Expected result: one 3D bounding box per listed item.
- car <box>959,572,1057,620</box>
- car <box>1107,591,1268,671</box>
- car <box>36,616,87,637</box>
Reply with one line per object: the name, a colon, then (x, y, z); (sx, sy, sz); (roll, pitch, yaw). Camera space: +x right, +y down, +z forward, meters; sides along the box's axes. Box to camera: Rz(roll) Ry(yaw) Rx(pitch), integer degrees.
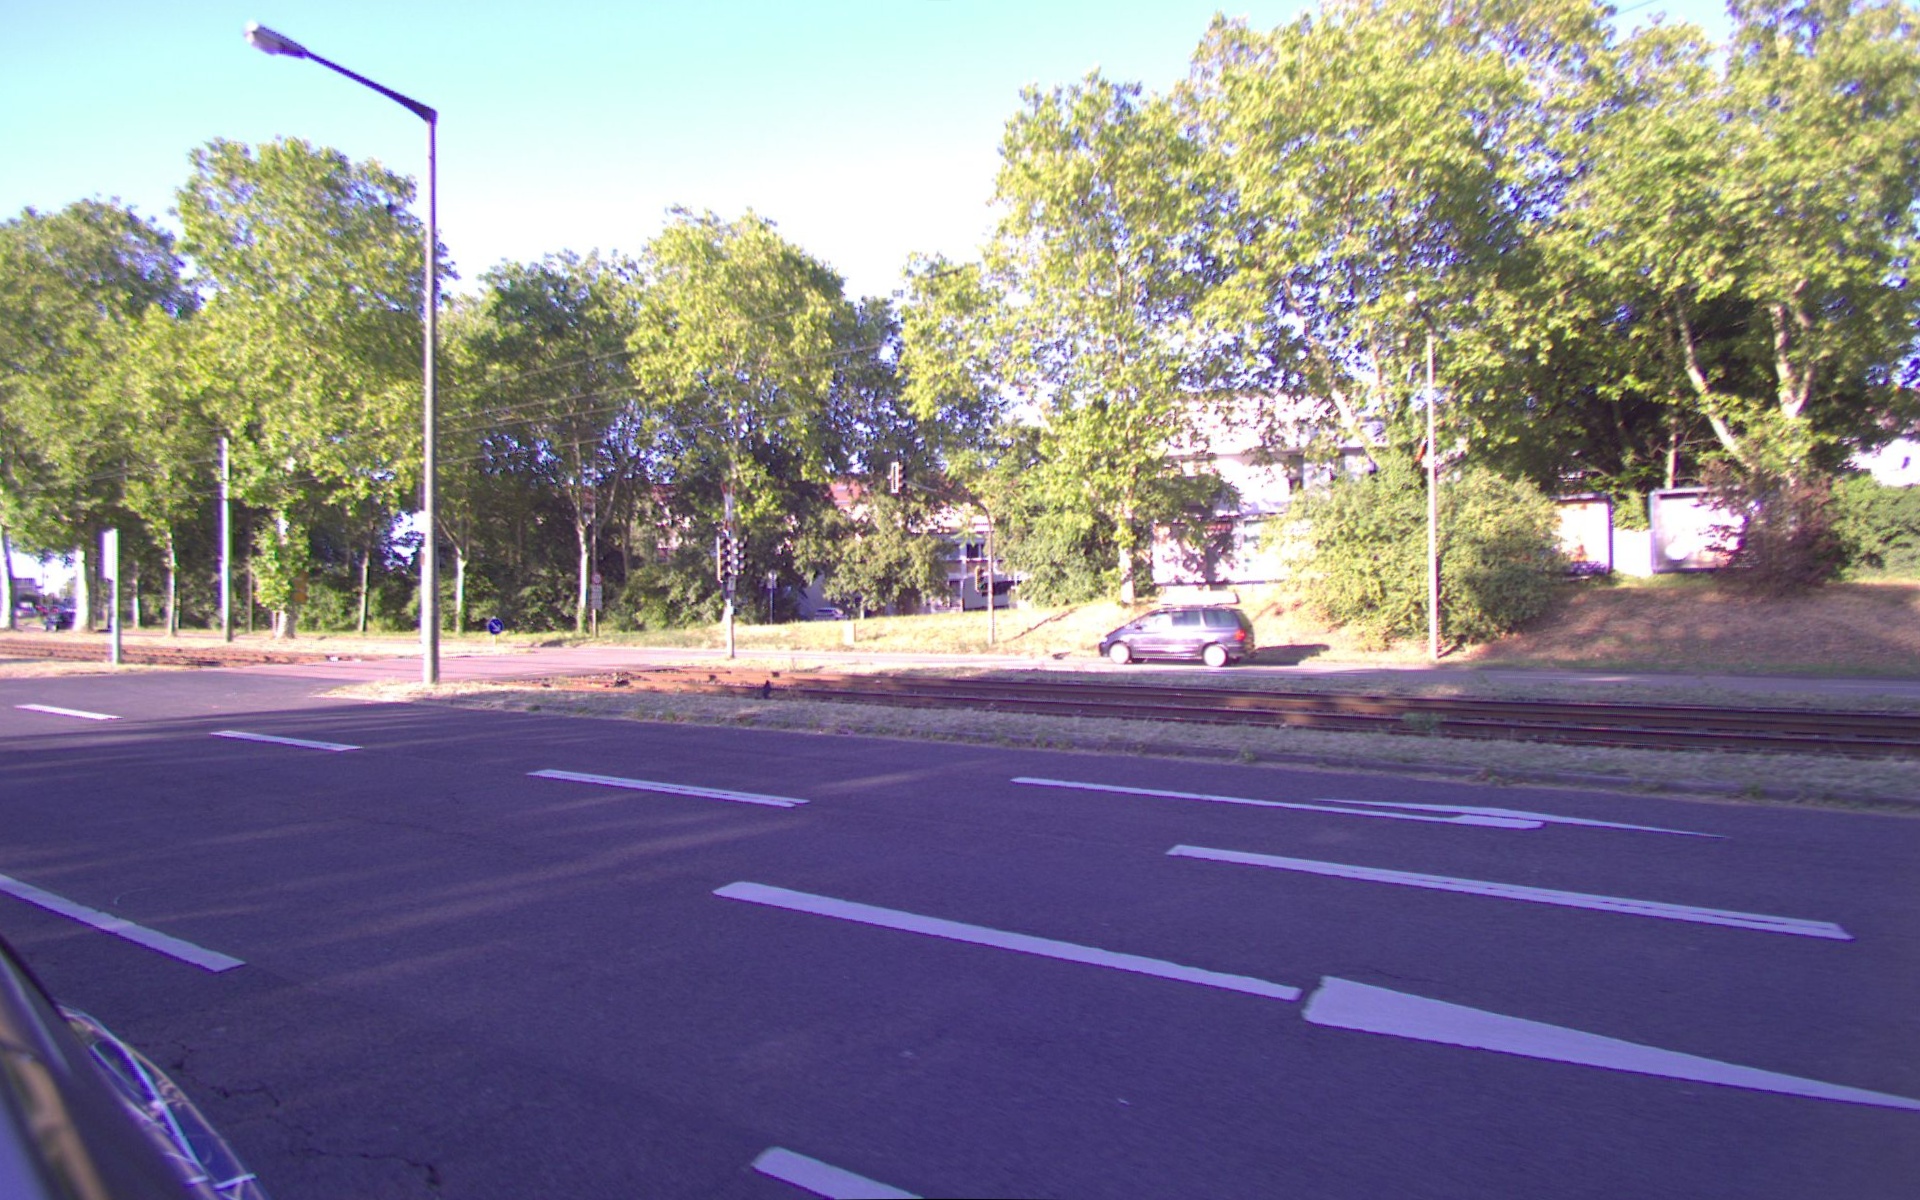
car: (2.738, -0.179, 58.483); (5.616, 2.532, 1.785); (-1, -3, 36)
car: (6.584, 0.891, 29.442); (4.177, 2.179, 1.978); (-1, -2, 32)
car: (-64.801, 1.908, 72.959); (3.970, 1.453, 1.613); (-1, -3, 31)
